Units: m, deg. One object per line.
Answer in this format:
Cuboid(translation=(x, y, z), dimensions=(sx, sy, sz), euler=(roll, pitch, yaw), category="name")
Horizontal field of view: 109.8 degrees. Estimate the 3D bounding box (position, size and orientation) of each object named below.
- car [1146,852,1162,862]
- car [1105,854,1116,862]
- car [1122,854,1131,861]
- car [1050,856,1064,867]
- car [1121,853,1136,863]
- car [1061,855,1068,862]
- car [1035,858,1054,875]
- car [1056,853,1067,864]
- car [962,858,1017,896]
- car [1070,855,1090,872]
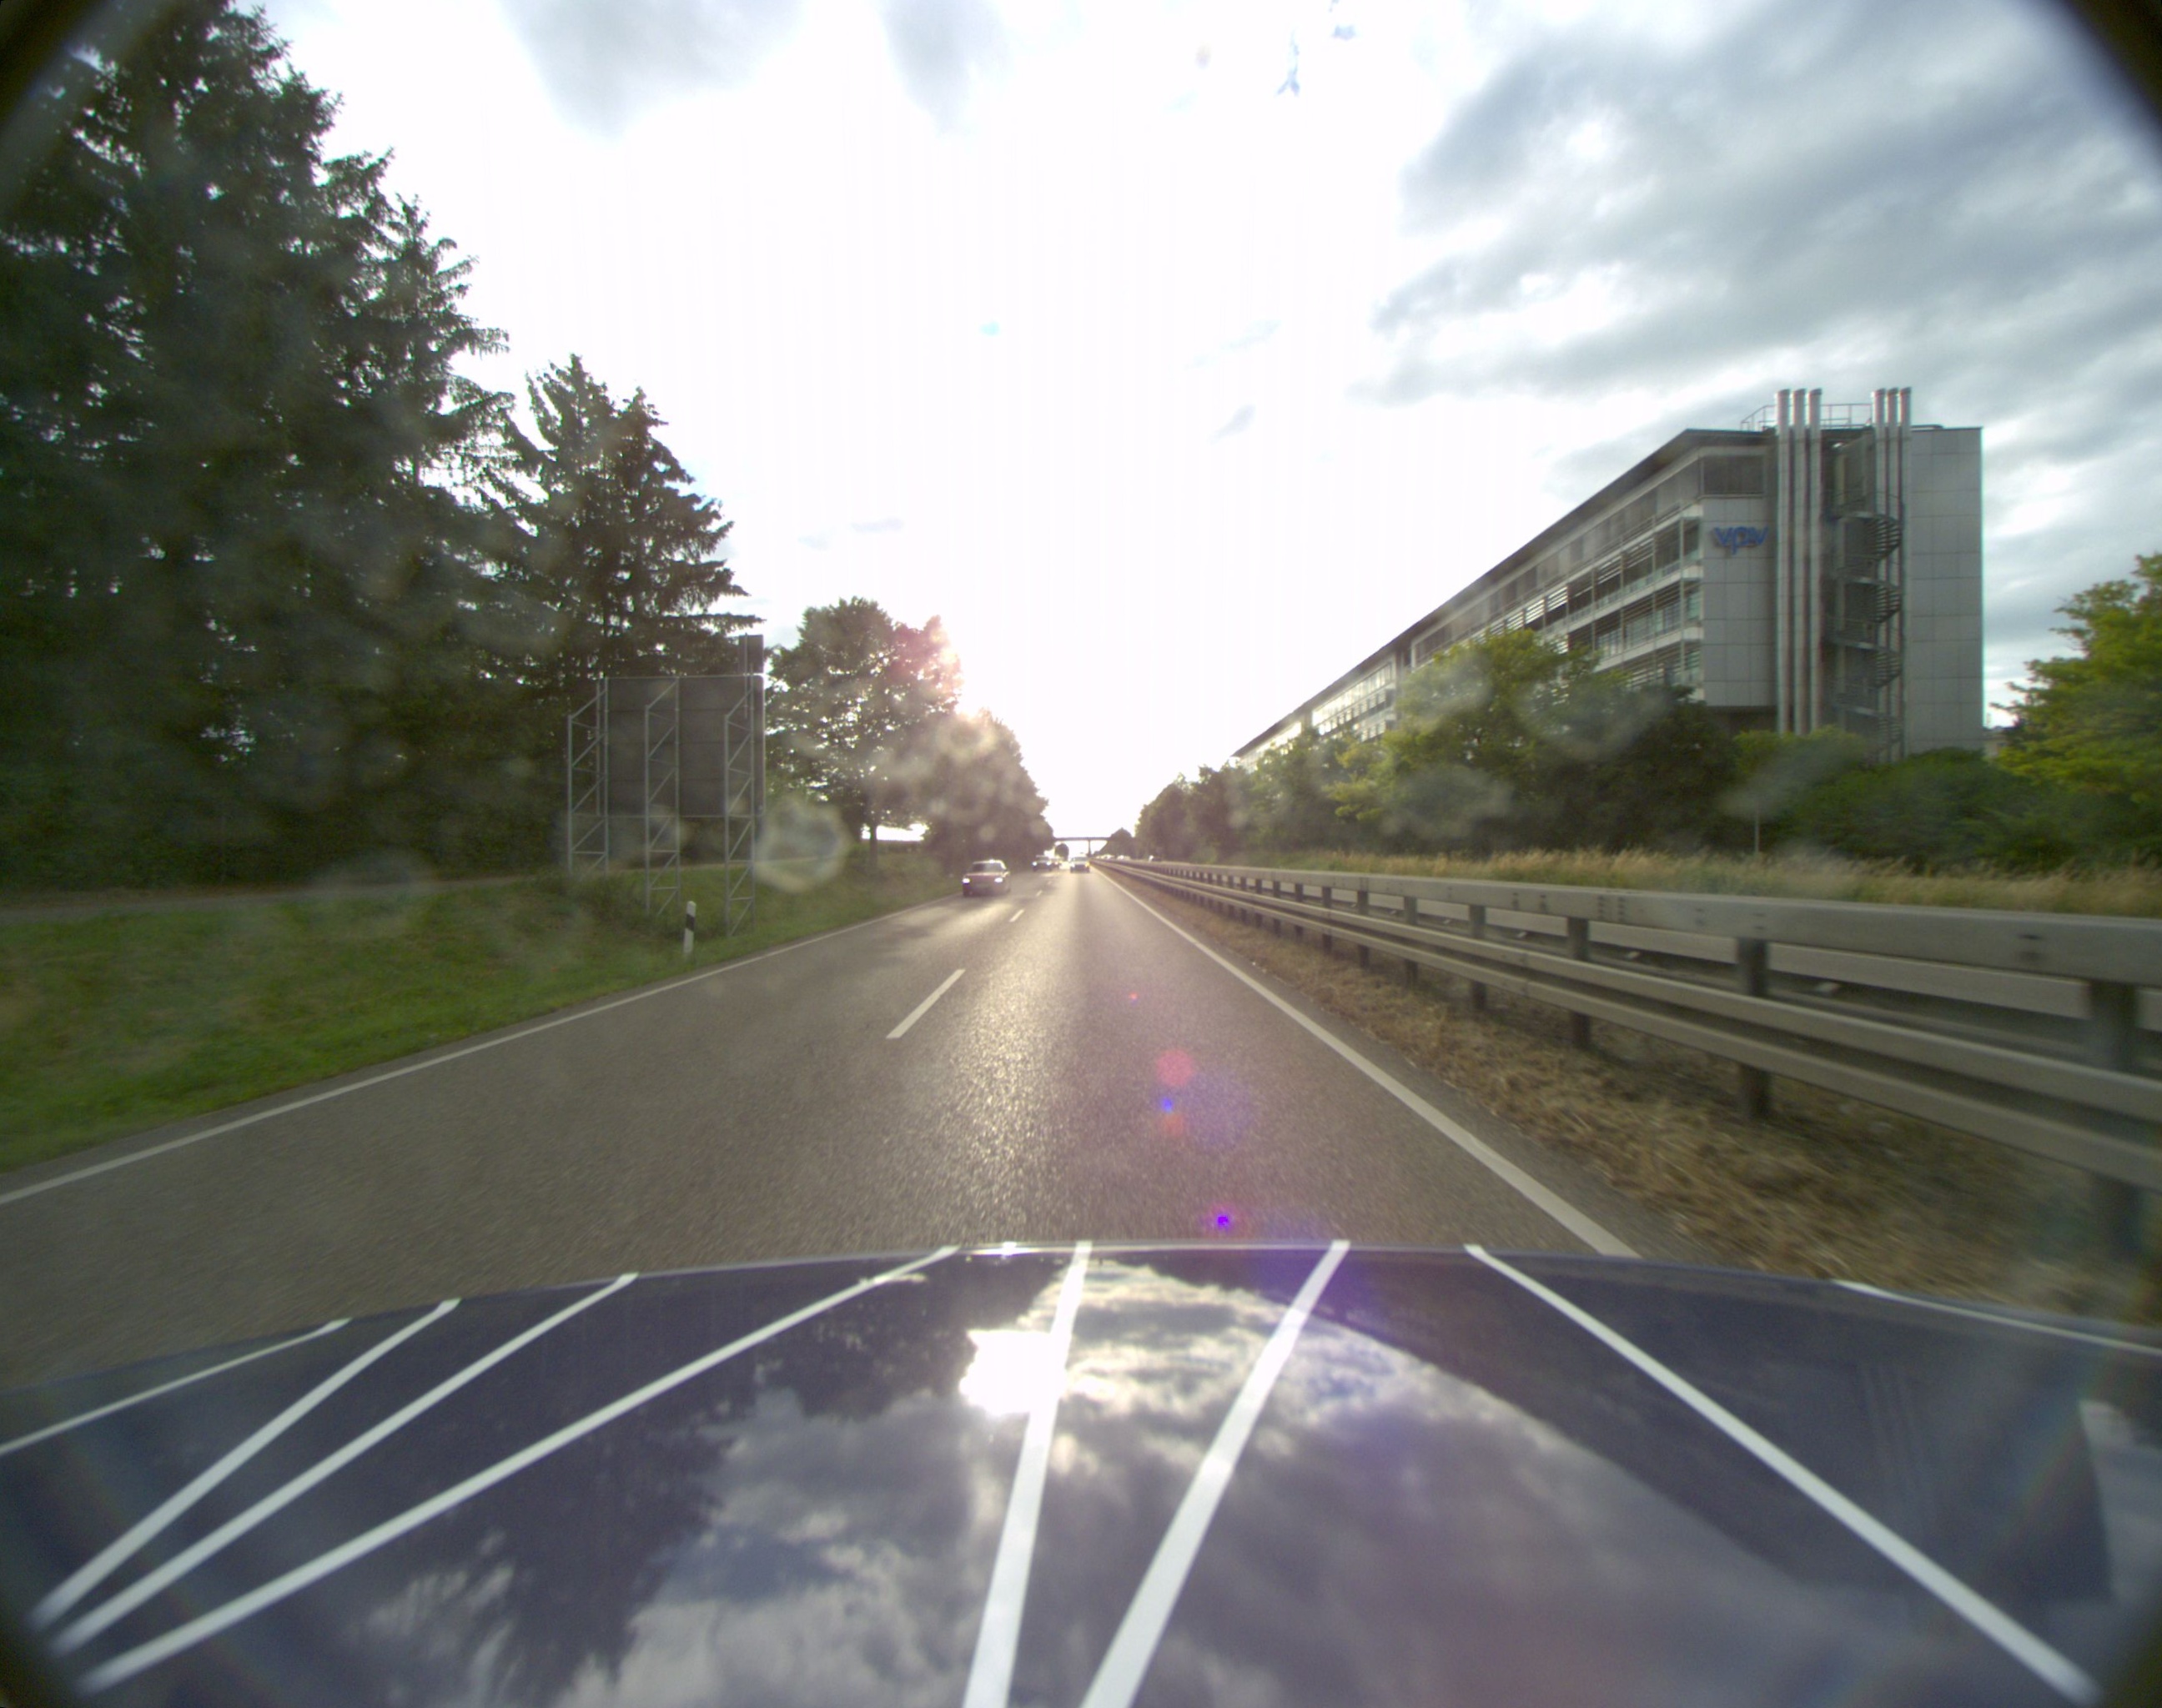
Cuboid(translation=(9.949, 0.396, 104.352), dimensions=(1.761, 1.414, 4.566), euler=(-1, 0, 1), category="car")
Cuboid(translation=(5.784, 0.761, 149.227), dimensions=(1.747, 1.449, 4.311), euler=(-1, 0, -1), category="car")
Cuboid(translation=(10.956, 0.869, 183.464), dimensions=(1.822, 1.476, 4.416), euler=(-1, 0, -1), category="car")
Cuboid(translation=(-2.989, 0.929, 93.891), dimensions=(1.558, 1.346, 3.407), euler=(-1, 0, 0), category="car")
Cuboid(translation=(6.732, 0.603, 107.722), dimensions=(1.839, 1.371, 4.565), euler=(-1, 0, -1), category="car")
Cuboid(translation=(-5.022, 1.453, 235.661), dimensions=(1.998, 2.002, 4.000), euler=(-2, 0, 0), category="car")
Cuboid(translation=(-3.757, 1.264, 78.569), dimensions=(1.723, 1.657, 4.419), euler=(-2, -1, 0), category="car")
Cuboid(translation=(-3.176, 0.801, 123.896), dimensions=(1.723, 1.657, 4.419), euler=(-2, -1, 0), category="car")
Cuboid(translation=(-3.815, 0.938, 32.158), dimensions=(1.723, 1.467, 3.729), euler=(-2, -1, 2), category="car")
Cuboid(translation=(-0.078, 0.862, 70.276), dimensions=(1.723, 1.493, 4.419), euler=(-2, -1, 1), category="car")
